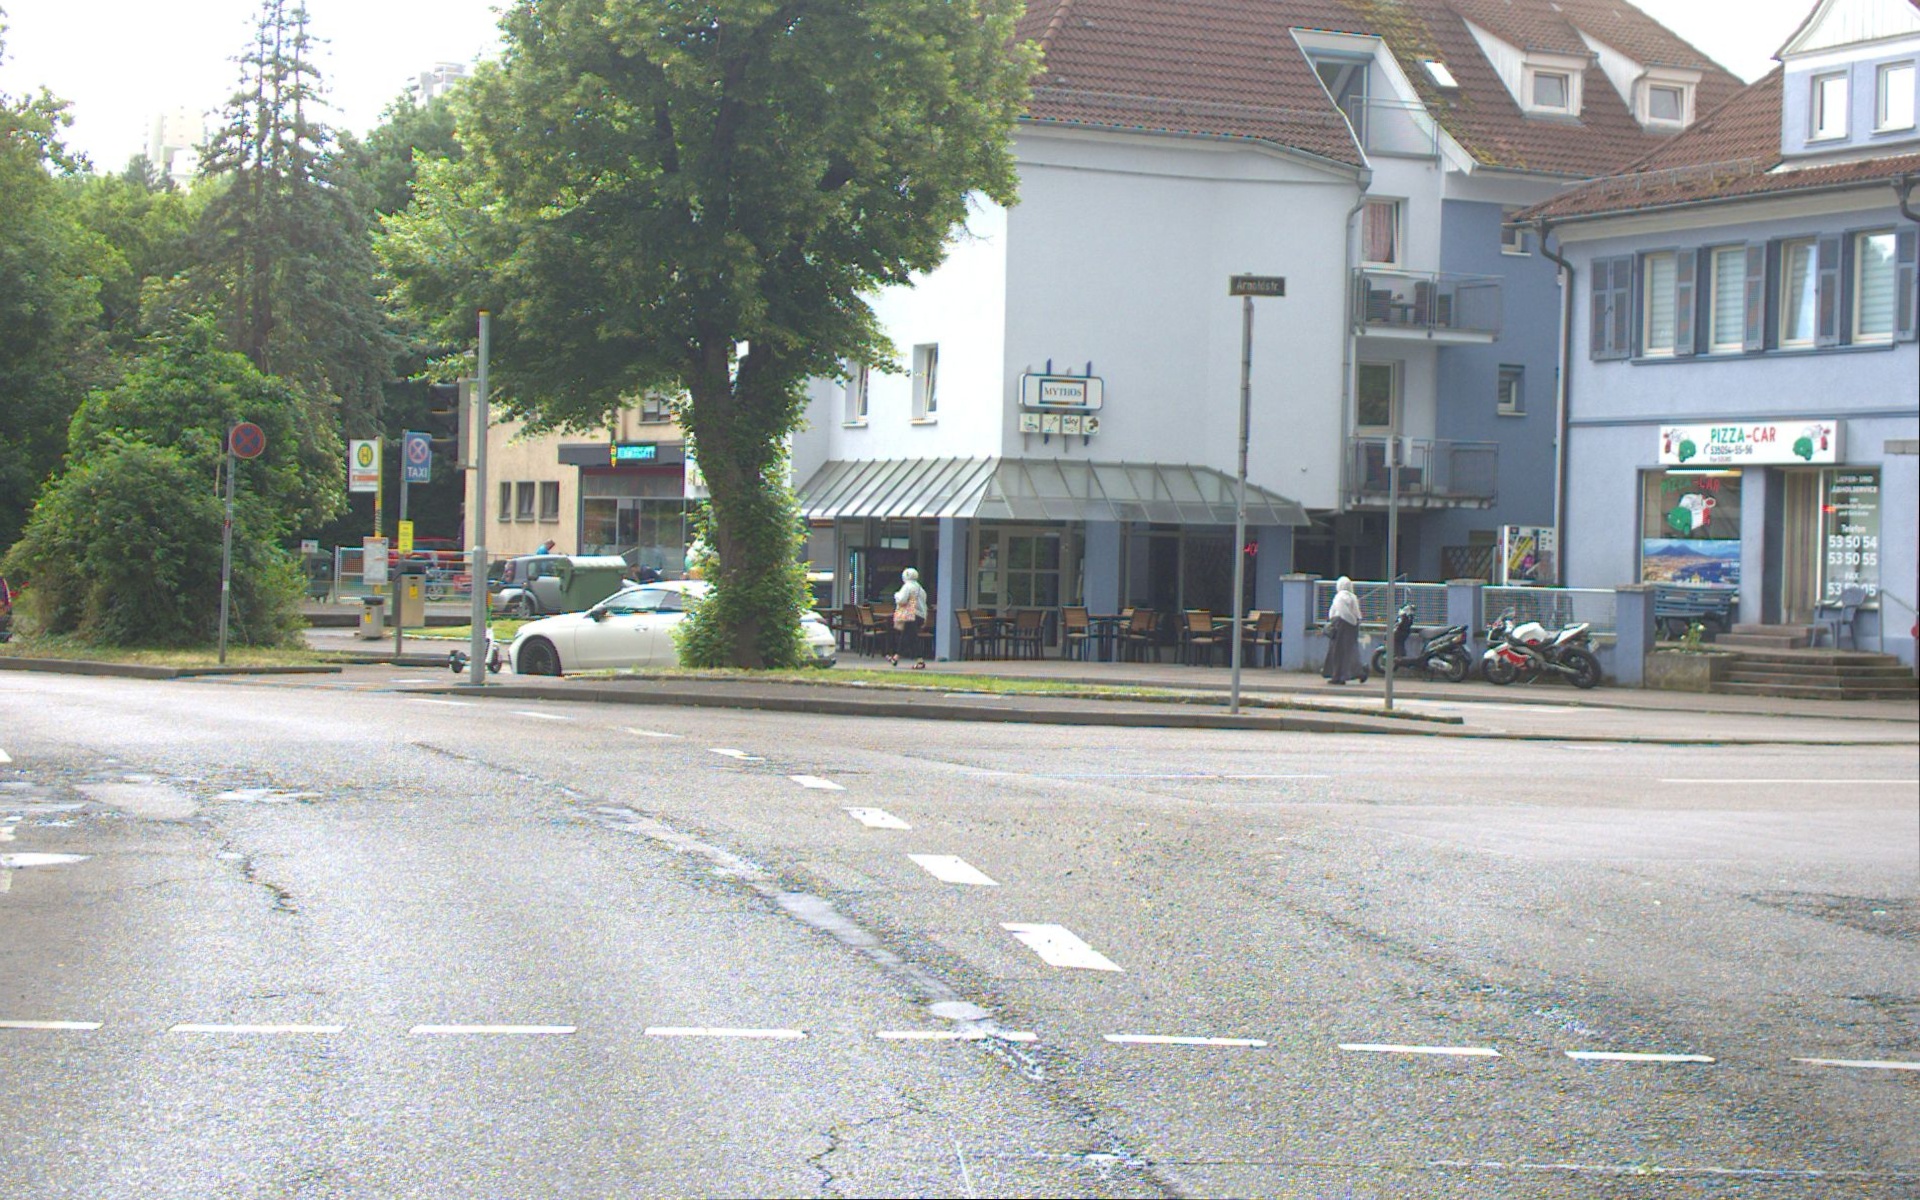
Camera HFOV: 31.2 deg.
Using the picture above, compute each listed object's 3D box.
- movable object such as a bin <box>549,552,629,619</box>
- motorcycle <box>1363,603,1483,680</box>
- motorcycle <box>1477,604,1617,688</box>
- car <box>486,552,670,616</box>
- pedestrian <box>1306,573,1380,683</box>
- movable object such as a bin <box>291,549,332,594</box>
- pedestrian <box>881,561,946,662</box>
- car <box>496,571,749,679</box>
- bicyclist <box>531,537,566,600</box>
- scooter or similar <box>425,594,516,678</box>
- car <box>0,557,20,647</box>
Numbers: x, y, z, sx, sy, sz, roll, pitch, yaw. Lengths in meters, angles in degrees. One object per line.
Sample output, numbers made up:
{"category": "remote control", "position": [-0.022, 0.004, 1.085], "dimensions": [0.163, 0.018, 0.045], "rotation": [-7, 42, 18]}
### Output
{"category": "movable object such as a bin", "position": [-7.985, -0.318, 73.974], "dimensions": [1.440, 1.404, 0.967], "rotation": [1, 1, -27]}
{"category": "motorcycle", "position": [6.750, 0.599, 50.158], "dimensions": [1.636, 1.060, 0.693], "rotation": [2, 1, 44]}
{"category": "motorcycle", "position": [8.255, 0.637, 48.379], "dimensions": [1.798, 1.118, 0.693], "rotation": [2, 1, 38]}
{"category": "car", "position": [-8.427, -0.359, 75.871], "dimensions": [3.733, 1.340, 1.434], "rotation": [1, 1, -26]}
{"category": "pedestrian", "position": [5.458, 0.389, 48.982], "dimensions": [0.768, 1.539, 0.677], "rotation": [1, 1, 39]}
{"category": "movable object such as a bin", "position": [-16.249, -0.724, 86.166], "dimensions": [0.950, 1.111, 0.383], "rotation": [1, 1, -21]}
{"category": "pedestrian", "position": [-0.713, 0.170, 53.260], "dimensions": [0.707, 1.539, 0.677], "rotation": [2, 1, 40]}
{"category": "car", "position": [-4.533, 0.320, 46.042], "dimensions": [3.171, 1.350, 1.436], "rotation": [2, 1, 35]}
{"category": "bicyclist", "position": [-10.139, -0.783, 84.742], "dimensions": [0.737, 1.536, 0.600], "rotation": [1, 1, -19]}
{"category": "scooter or similar", "position": [-6.061, 0.435, 42.649], "dimensions": [0.417, 1.008, 1.565], "rotation": [1, 1, 20]}
{"category": "car", "position": [-16.515, -0.008, 53.721], "dimensions": [3.590, 1.389, 1.469], "rotation": [2, 1, 32]}
